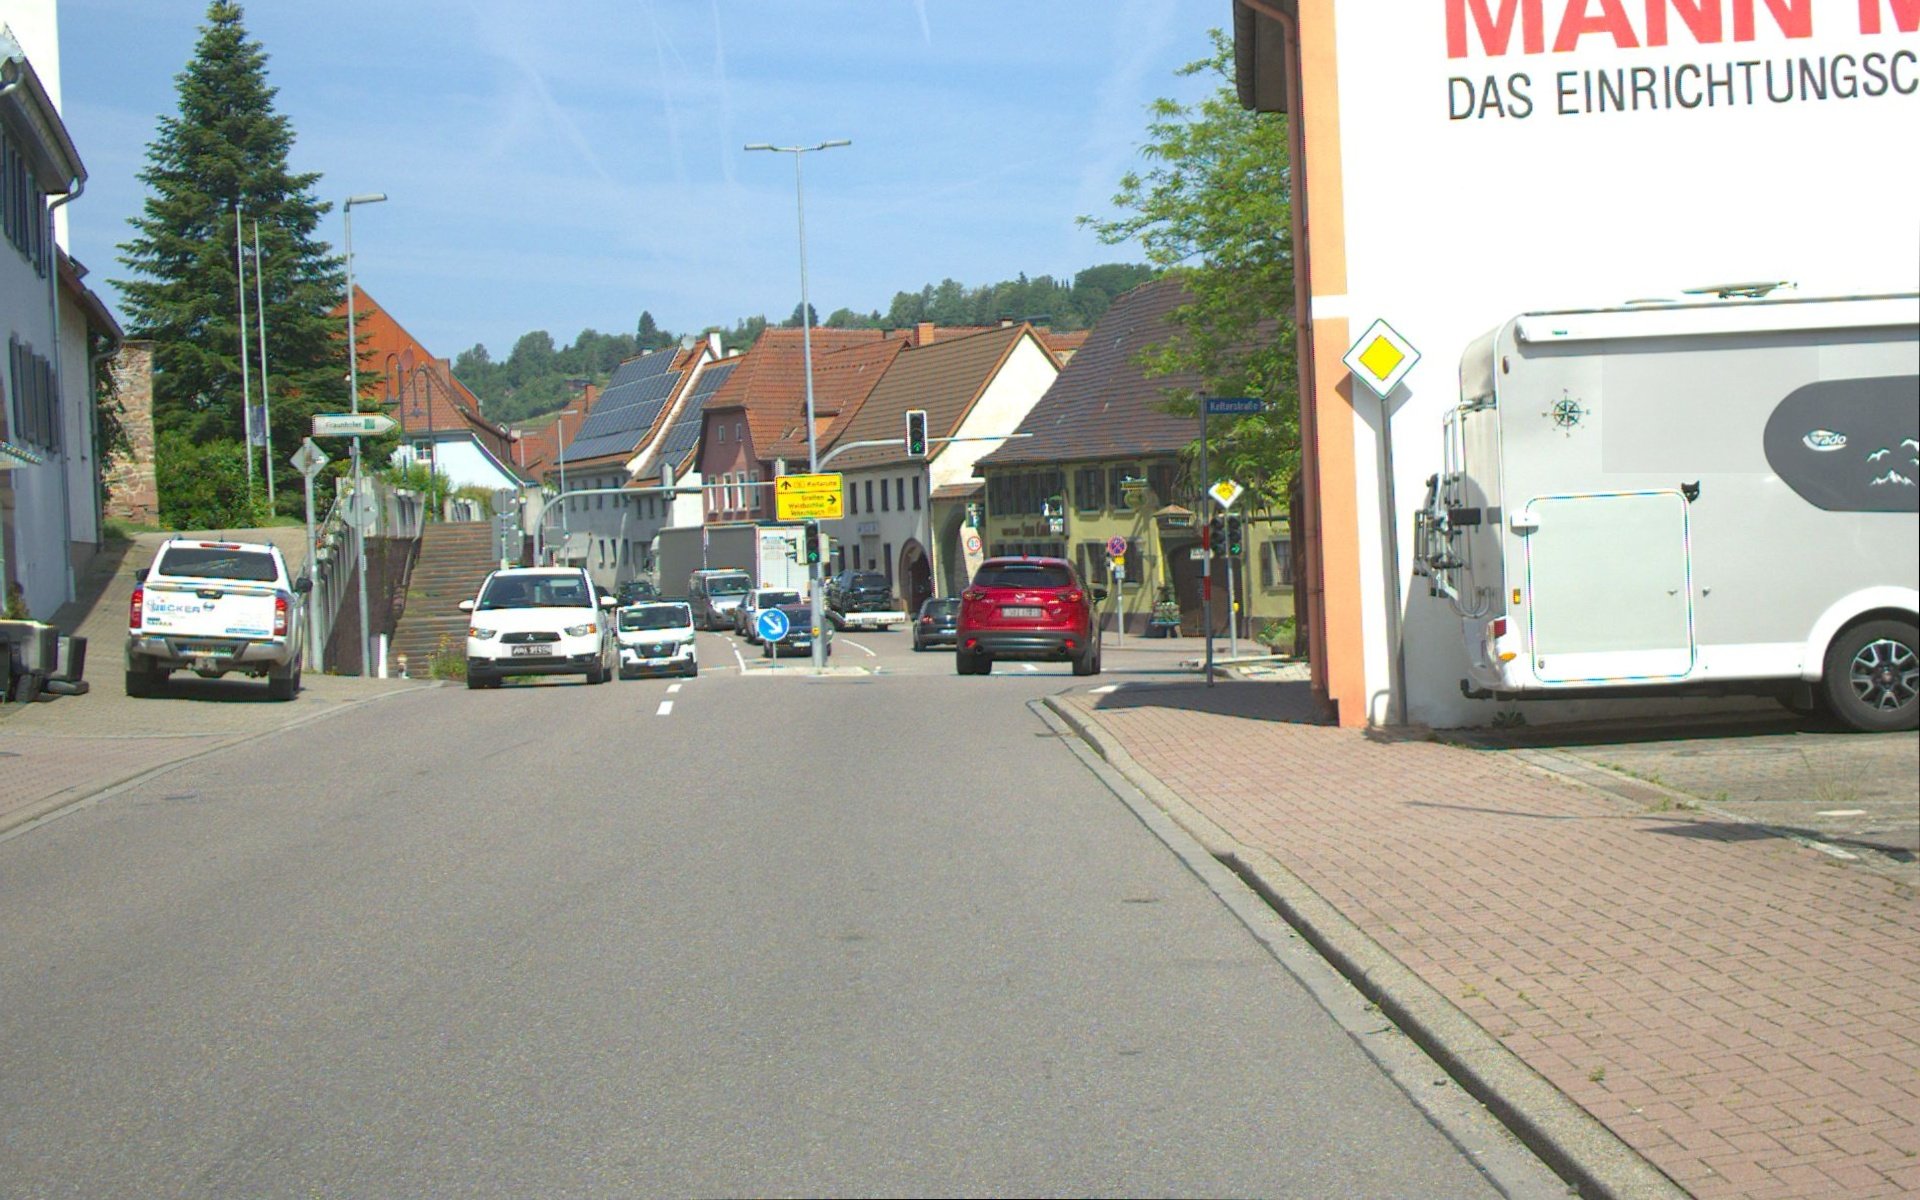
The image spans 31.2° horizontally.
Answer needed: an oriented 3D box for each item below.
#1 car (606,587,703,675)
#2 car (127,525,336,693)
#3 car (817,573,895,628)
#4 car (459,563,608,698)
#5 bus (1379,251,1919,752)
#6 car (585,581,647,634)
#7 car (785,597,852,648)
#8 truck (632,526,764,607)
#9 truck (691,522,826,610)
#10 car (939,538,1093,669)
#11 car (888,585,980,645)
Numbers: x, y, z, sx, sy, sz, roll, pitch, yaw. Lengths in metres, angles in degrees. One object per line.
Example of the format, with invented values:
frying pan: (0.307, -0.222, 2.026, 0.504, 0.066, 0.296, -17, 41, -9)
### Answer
car: (-7.310, 0.710, 82.573, 1.968, 1.926, 5.314, -3, 1, -2)
car: (-8.416, 0.057, 40.102, 1.804, 1.792, 5.287, 2, 1, -6)
car: (-3.872, 0.000, 127.760, 1.846, 2.007, 4.001, 0, 0, -18)
car: (-5.383, 0.346, 43.687, 1.729, 1.537, 3.813, -3, 1, -6)
bus: (6.177, -0.716, 22.223, 6.566, 2.895, 2.229, -4, 0, 3)
car: (-15.030, 0.317, 149.956, 1.757, 2.238, 4.554, 0, 0, -18)
car: (-4.354, 0.689, 106.291, 1.820, 1.429, 4.248, -2, 1, 1)
truck: (-11.690, -1.432, 152.367, 3.158, 3.448, 10.715, 0, 0, -19)
truck: (-8.451, -1.392, 142.936, 3.222, 3.537, 9.233, 0, 0, -19)
car: (0.828, 0.018, 48.249, 1.805, 1.657, 3.812, -2, 1, 6)
car: (-0.839, 0.449, 107.787, 1.820, 1.733, 4.006, -3, 1, -16)
